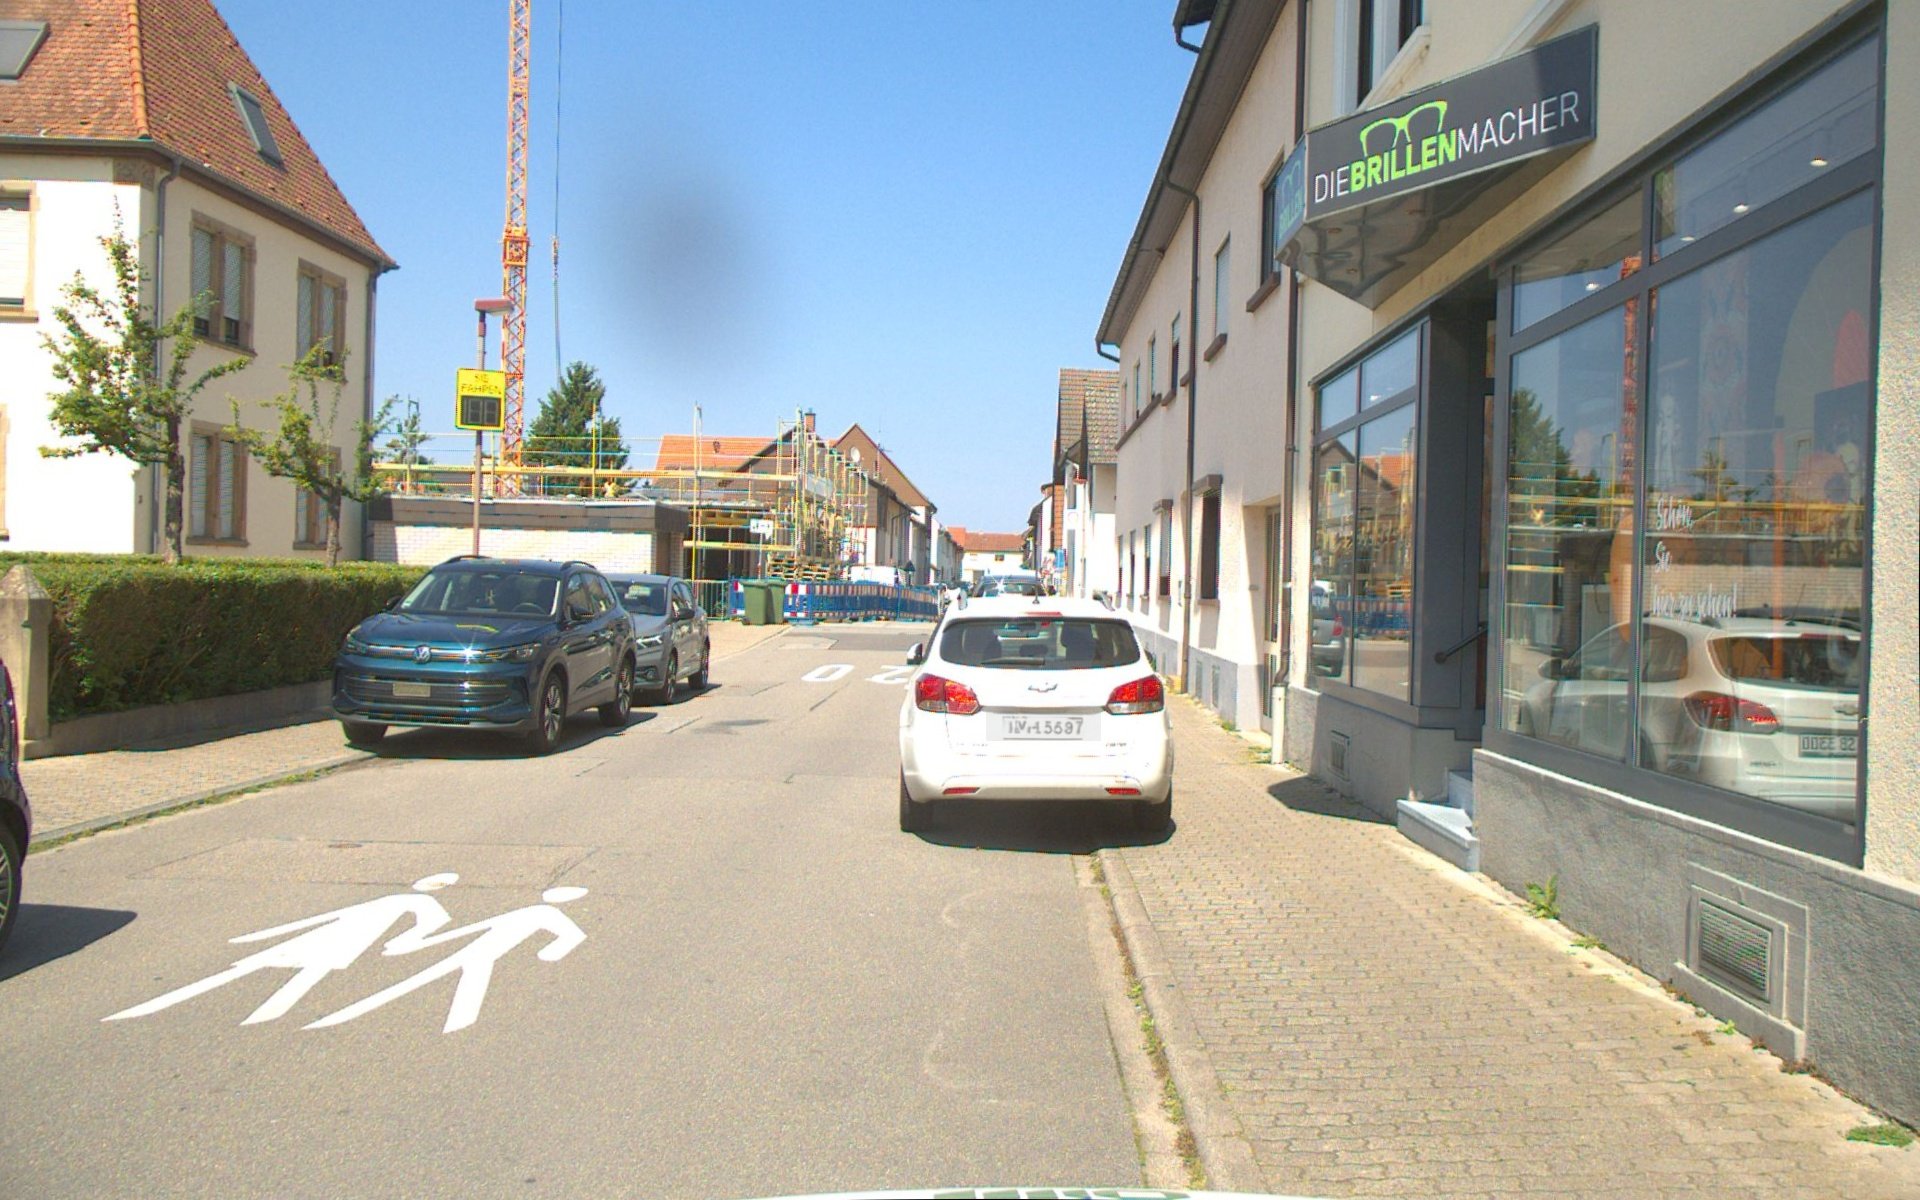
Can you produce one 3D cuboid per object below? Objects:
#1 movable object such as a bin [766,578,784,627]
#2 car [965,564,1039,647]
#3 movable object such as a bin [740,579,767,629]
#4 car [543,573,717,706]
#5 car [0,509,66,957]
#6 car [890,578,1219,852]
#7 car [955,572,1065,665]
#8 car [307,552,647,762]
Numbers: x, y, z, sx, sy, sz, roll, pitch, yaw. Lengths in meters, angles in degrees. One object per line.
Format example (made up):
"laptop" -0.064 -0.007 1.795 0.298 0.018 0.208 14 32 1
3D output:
"movable object such as a bin" -4.548 0.061 40.690 0.423 1.176 0.364 1 1 -8
"car" 0.935 0.078 36.755 1.532 1.641 3.544 1 3 1
"movable object such as a bin" -5.009 0.095 40.218 0.609 1.176 0.676 1 1 -6
"car" -4.085 0.448 20.950 1.407 1.500 3.786 1 0 0
"car" -4.361 0.499 4.624 1.604 1.657 3.769 1 1 1
"car" 0.467 0.654 11.765 1.849 1.569 4.240 1 1 -3
"car" 0.892 0.304 31.574 1.846 1.583 3.893 -2 1 -1
"car" -4.325 0.440 15.539 1.788 1.659 4.218 1 1 2
